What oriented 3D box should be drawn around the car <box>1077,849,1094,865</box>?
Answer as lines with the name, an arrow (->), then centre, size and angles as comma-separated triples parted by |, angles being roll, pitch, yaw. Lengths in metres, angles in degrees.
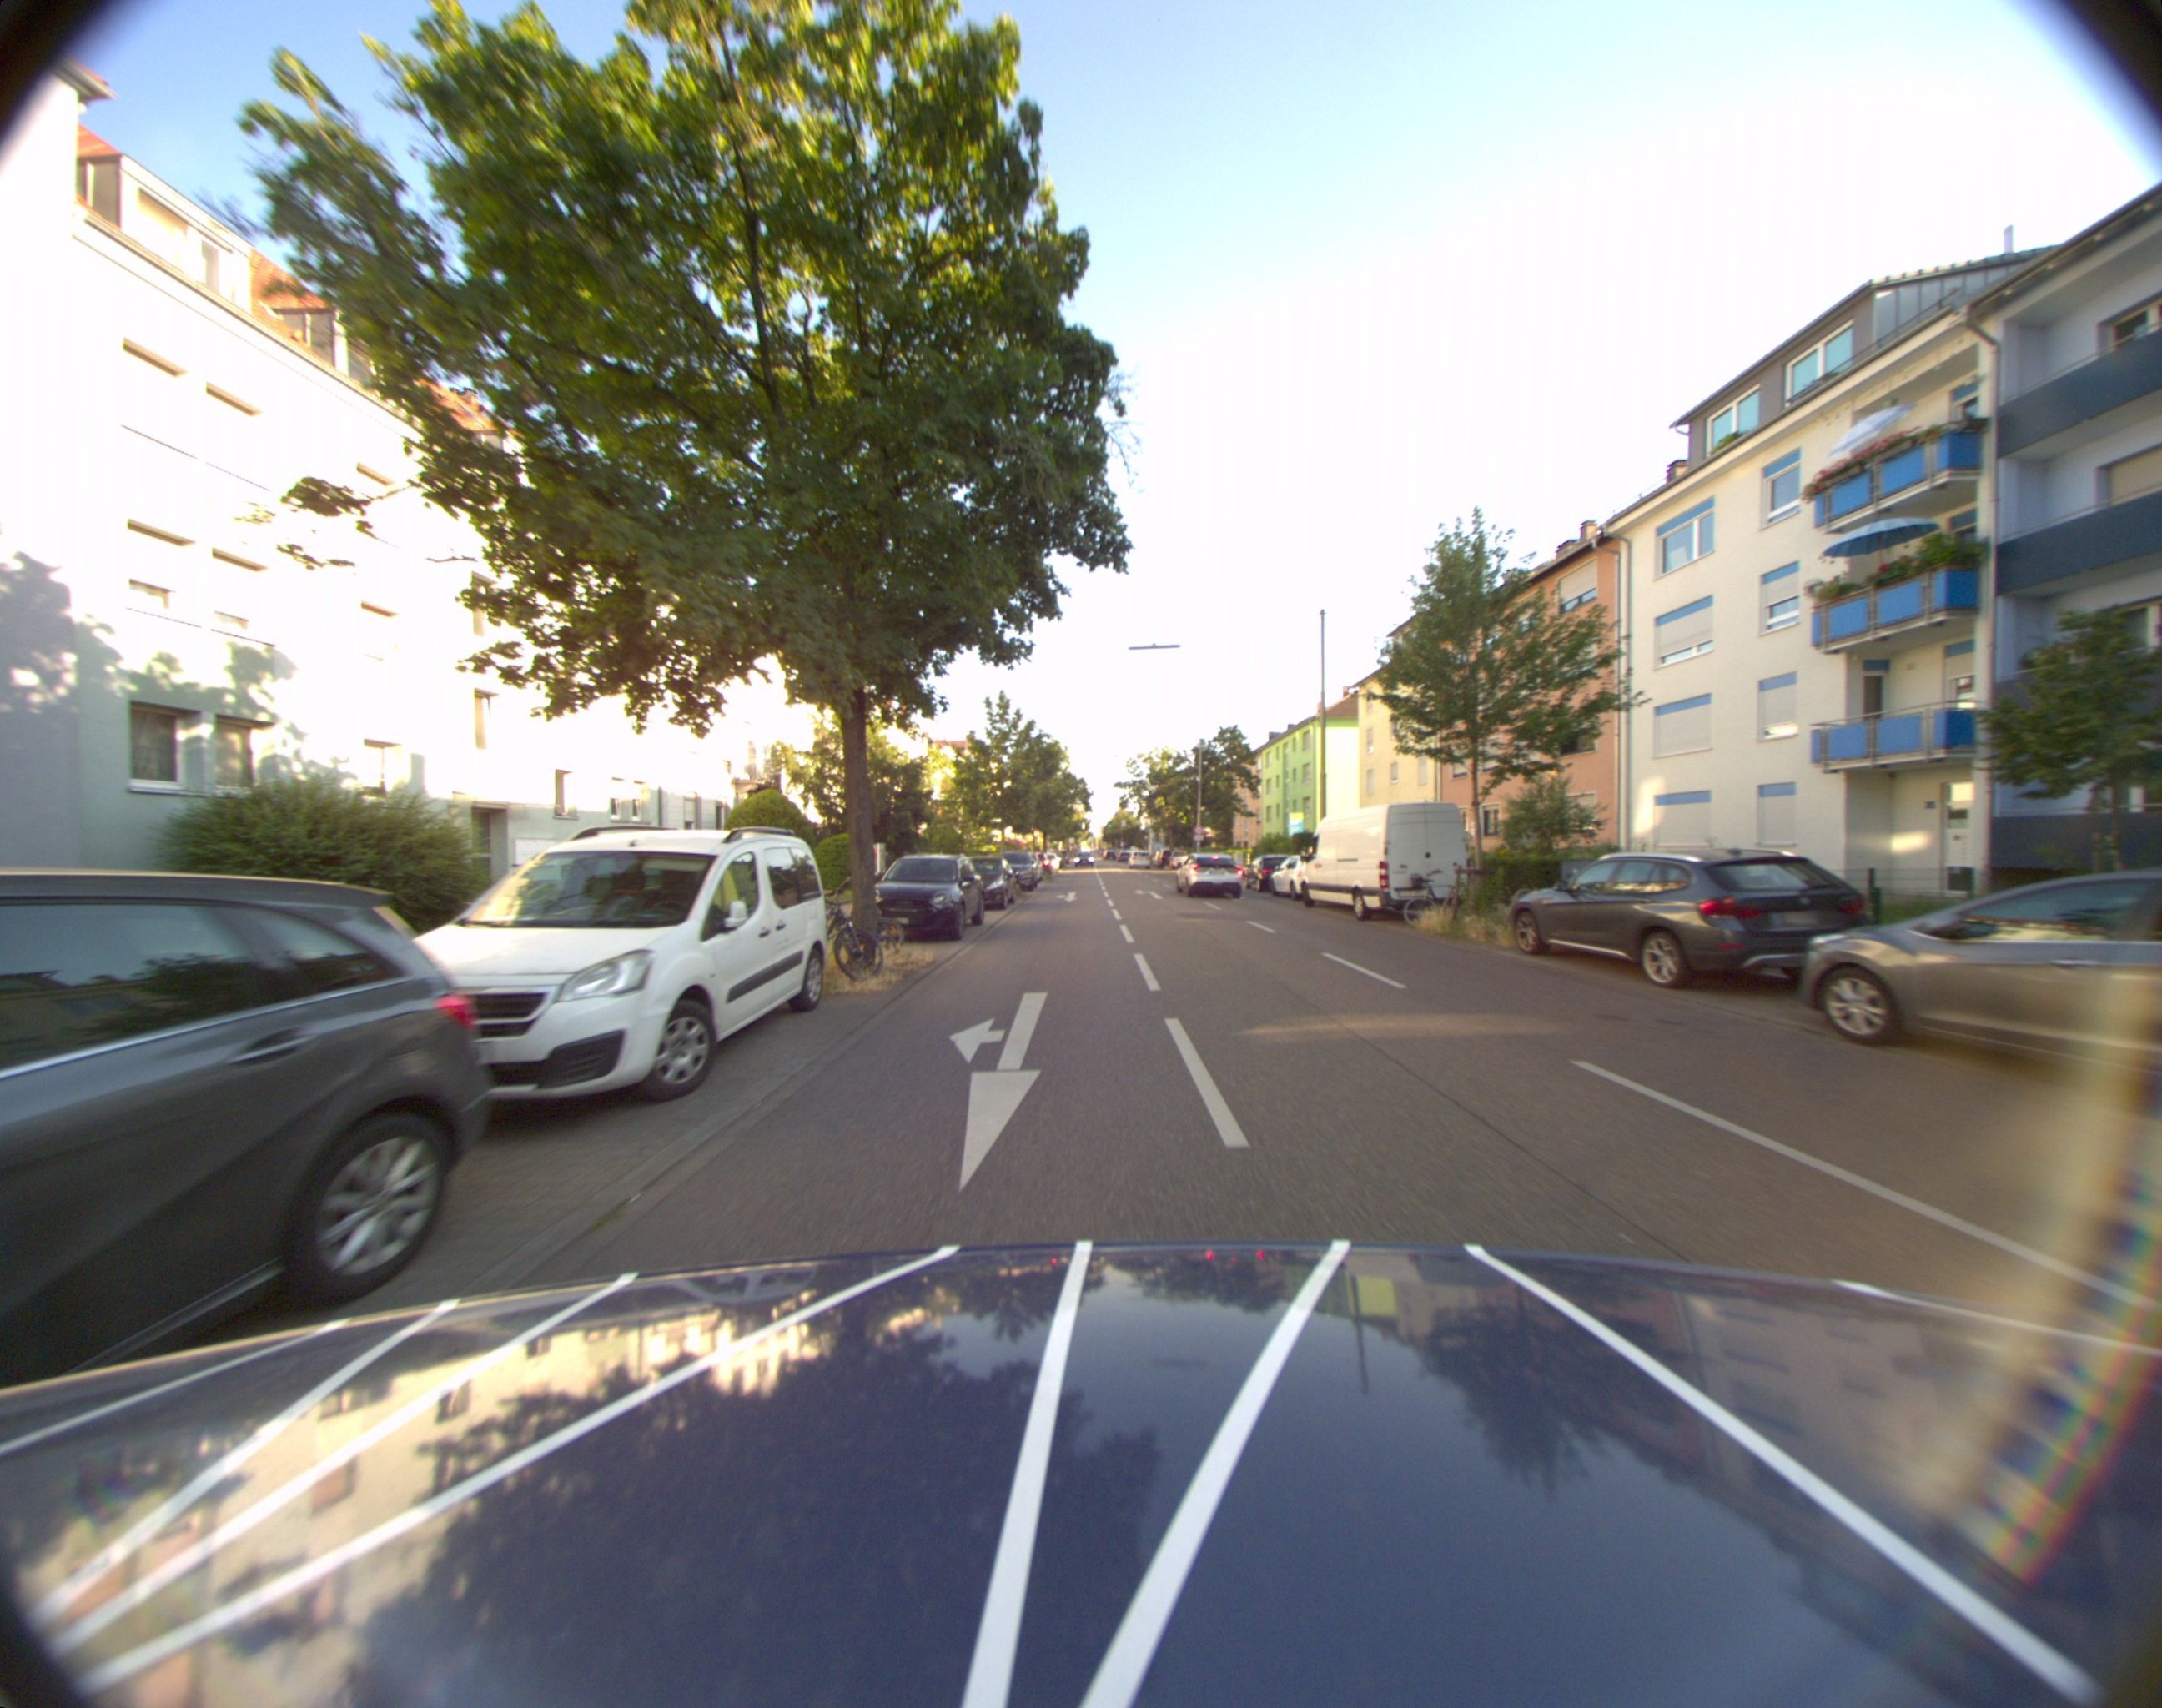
car -> 0.477, 0.300, 75.420 | 1.641, 1.482, 4.415 | 0, 1, 0

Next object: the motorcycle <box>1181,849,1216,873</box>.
motorcycle -> 7.563, 0.443, 49.064 | 2.031, 1.381, 0.988 | -4, 3, -31

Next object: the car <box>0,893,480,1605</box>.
car -> -3.363, 0.968, 1.063 | 1.759, 1.548, 4.251 | 1, 1, -2

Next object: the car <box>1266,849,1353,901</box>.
car -> 7.610, 0.644, 25.670 | 1.711, 1.483, 4.058 | -3, 1, 1

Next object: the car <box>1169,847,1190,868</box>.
car -> 8.045, 0.253, 62.177 | 1.502, 1.607, 2.861 | -1, 1, 4

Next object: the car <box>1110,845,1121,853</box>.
car -> 6.679, -0.891, 146.536 | 1.820, 1.438, 4.109 | 2, 1, -1

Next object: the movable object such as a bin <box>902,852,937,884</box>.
movable object such as a bin -> -7.761, 0.652, 36.578 | 1.269, 1.484, 1.140 | 2, 1, 10

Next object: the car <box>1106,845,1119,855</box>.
car -> 4.682, -0.646, 112.291 | 1.704, 1.395, 4.027 | 1, 1, 0

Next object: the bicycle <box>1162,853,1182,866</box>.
bicycle -> 8.081, 0.484, 67.466 | 1.679, 1.083, 0.560 | -2, 1, 2

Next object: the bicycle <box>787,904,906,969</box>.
bicycle -> -3.327, 1.162, 10.842 | 1.556, 0.864, 0.393 | 0, 1, -3

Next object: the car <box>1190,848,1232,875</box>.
car -> 7.706, 0.413, 45.393 | 1.783, 1.496, 4.588 | -1, 1, 0

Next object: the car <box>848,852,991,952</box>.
car -> -3.018, 0.823, 15.129 | 1.758, 1.653, 4.252 | 0, 1, 2

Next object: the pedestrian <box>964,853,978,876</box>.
pedestrian -> -6.298, 0.593, 43.487 | 0.674, 1.228, 0.790 | -1, 1, 1

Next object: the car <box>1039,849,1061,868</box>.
car -> -2.494, 0.315, 62.206 | 1.641, 1.482, 4.415 | 0, 1, 0

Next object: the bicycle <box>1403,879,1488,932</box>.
bicycle -> 7.367, 1.041, 15.410 | 1.475, 1.009, 0.440 | -2, 1, 8

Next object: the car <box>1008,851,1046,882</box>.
car -> -2.826, 0.626, 40.248 | 1.723, 1.485, 4.393 | 0, 1, 0

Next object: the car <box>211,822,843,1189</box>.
car -> -3.486, 0.746, 6.069 | 1.805, 1.798, 4.422 | -2, 1, -2

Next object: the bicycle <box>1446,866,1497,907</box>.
bicycle -> 10.537, 0.864, 20.584 | 0.622, 1.009, 1.953 | 0, 1, 8

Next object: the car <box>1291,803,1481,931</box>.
car -> 7.330, 0.239, 19.361 | 1.998, 2.601, 7.104 | -2, 1, 1

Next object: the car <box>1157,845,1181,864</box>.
car -> 8.172, 0.035, 70.898 | 1.788, 1.723, 4.616 | 0, 1, 1

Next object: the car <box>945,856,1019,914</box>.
car -> -2.807, 0.836, 22.252 | 1.617, 1.458, 3.958 | 0, 1, 0

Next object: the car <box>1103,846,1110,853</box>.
car -> 6.715, -1.196, 199.574 | 1.866, 1.819, 5.228 | 1, 1, 4

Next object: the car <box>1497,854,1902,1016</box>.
car -> 7.327, 0.809, 9.749 | 1.676, 1.534, 4.473 | -1, 1, 2

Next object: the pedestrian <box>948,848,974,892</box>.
pedestrian -> -4.697, 0.635, 29.858 | 0.789, 1.691, 0.808 | -1, 2, 5

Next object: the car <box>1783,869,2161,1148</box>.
car -> 6.947, 0.903, 4.606 | 1.696, 1.475, 4.143 | -1, 1, 3

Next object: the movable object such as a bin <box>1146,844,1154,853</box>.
movable object such as a bin -> 13.270, -1.140, 146.902 | 1.309, 1.649, 1.180 | -4, 2, 0

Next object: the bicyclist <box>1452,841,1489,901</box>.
bicyclist -> 10.536, 0.441, 20.587 | 0.604, 1.584, 0.940 | 0, 1, 8

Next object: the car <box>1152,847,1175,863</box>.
car -> 8.248, 0.107, 76.204 | 1.687, 1.512, 4.190 | -1, 1, -1

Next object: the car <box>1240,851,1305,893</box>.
car -> 7.559, 0.655, 30.295 | 1.616, 1.464, 3.812 | -3, 1, 0

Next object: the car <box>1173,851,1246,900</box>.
car -> 4.420, 0.687, 26.757 | 1.785, 1.486, 3.970 | 2, 1, -1

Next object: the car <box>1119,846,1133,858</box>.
car -> 5.787, -0.264, 97.767 | 1.703, 1.462, 4.295 | 1, 1, 5

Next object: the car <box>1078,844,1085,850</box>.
car -> 0.044, -2.017, 217.548 | 1.744, 1.509, 3.811 | -1, 1, 3

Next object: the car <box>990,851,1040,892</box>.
car -> -2.723, 0.685, 32.012 | 1.722, 1.592, 4.095 | 0, 1, 0

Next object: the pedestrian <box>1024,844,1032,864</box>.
pedestrian -> -4.891, 0.017, 69.916 | 0.549, 1.839, 0.764 | -1, 1, 7

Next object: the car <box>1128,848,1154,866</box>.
car -> 5.361, 0.272, 68.220 | 1.884, 1.534, 4.266 | 0, 0, -1

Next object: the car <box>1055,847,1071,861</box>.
car -> -2.076, -0.049, 89.858 | 1.796, 1.622, 4.028 | -1, 1, 0

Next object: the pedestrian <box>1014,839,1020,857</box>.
pedestrian -> -5.932, -0.532, 69.964 | 0.512, 1.687, 0.527 | -1, 1, -4

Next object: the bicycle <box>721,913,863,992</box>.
bicycle -> -3.487, 1.182, 9.248 | 1.557, 0.864, 0.393 | -1, 1, -8

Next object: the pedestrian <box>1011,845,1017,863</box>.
pedestrian -> -6.226, 0.020, 70.834 | 0.512, 1.687, 0.527 | -1, 1, -4

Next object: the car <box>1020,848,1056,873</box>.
car -> -2.788, 0.395, 50.247 | 1.879, 1.572, 4.820 | 1, 1, 2

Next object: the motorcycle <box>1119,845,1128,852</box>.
motorcycle -> 9.074, -1.112, 162.534 | 1.263, 1.526, 2.887 | -1, 1, -13
